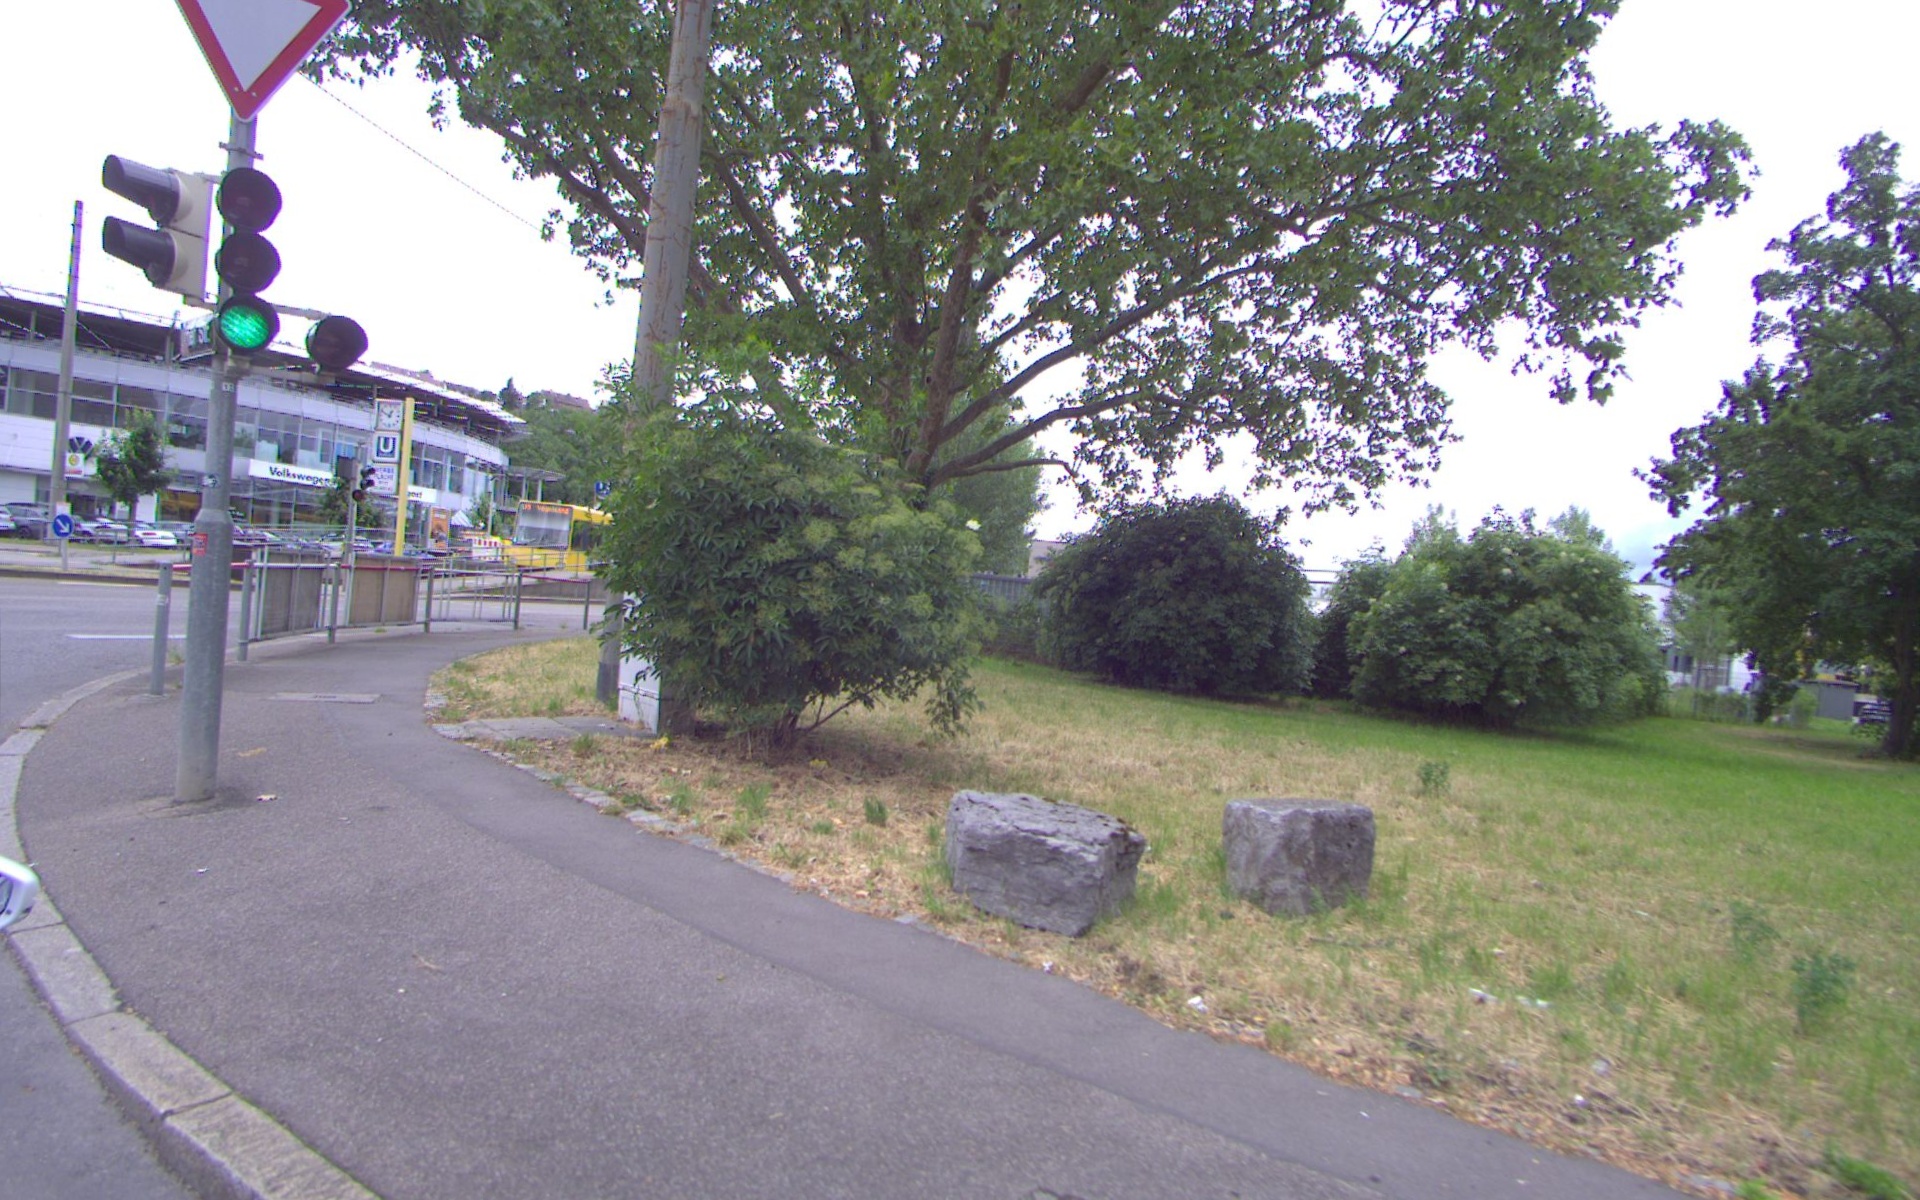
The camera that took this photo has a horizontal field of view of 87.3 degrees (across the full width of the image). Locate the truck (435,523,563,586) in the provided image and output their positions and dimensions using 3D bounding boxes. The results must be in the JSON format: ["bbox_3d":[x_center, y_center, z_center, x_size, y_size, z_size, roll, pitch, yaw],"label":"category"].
[{"bbox_3d":[-28.485,-2.698,62.745,2.651,3.116,9.012,6,-1,7],"label":"truck"}]

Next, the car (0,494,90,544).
[{"bbox_3d":[-38.333,-3.379,40.999,3.925,1.571,1.930,6,-3,1],"label":"car"}]

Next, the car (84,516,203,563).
[{"bbox_3d":[-38.863,-2.843,47.962,3.925,1.571,1.930,6,-3,1],"label":"car"}]

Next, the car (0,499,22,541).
[{"bbox_3d":[-38.795,-3.347,38.515,3.925,1.493,1.817,6,-3,1],"label":"car"}]

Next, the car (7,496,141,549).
[{"bbox_3d":[-38.223,-3.334,43.456,3.925,1.571,1.930,6,-3,1],"label":"car"}]

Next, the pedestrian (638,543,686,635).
[{"bbox_3d":[-6.339,-0.217,21.407,0.593,1.890,0.672,6,0,7],"label":"pedestrian"}]

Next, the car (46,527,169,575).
[{"bbox_3d":[-38.498,-2.193,45.506,3.925,1.571,1.732,6,-3,1],"label":"car"}]
